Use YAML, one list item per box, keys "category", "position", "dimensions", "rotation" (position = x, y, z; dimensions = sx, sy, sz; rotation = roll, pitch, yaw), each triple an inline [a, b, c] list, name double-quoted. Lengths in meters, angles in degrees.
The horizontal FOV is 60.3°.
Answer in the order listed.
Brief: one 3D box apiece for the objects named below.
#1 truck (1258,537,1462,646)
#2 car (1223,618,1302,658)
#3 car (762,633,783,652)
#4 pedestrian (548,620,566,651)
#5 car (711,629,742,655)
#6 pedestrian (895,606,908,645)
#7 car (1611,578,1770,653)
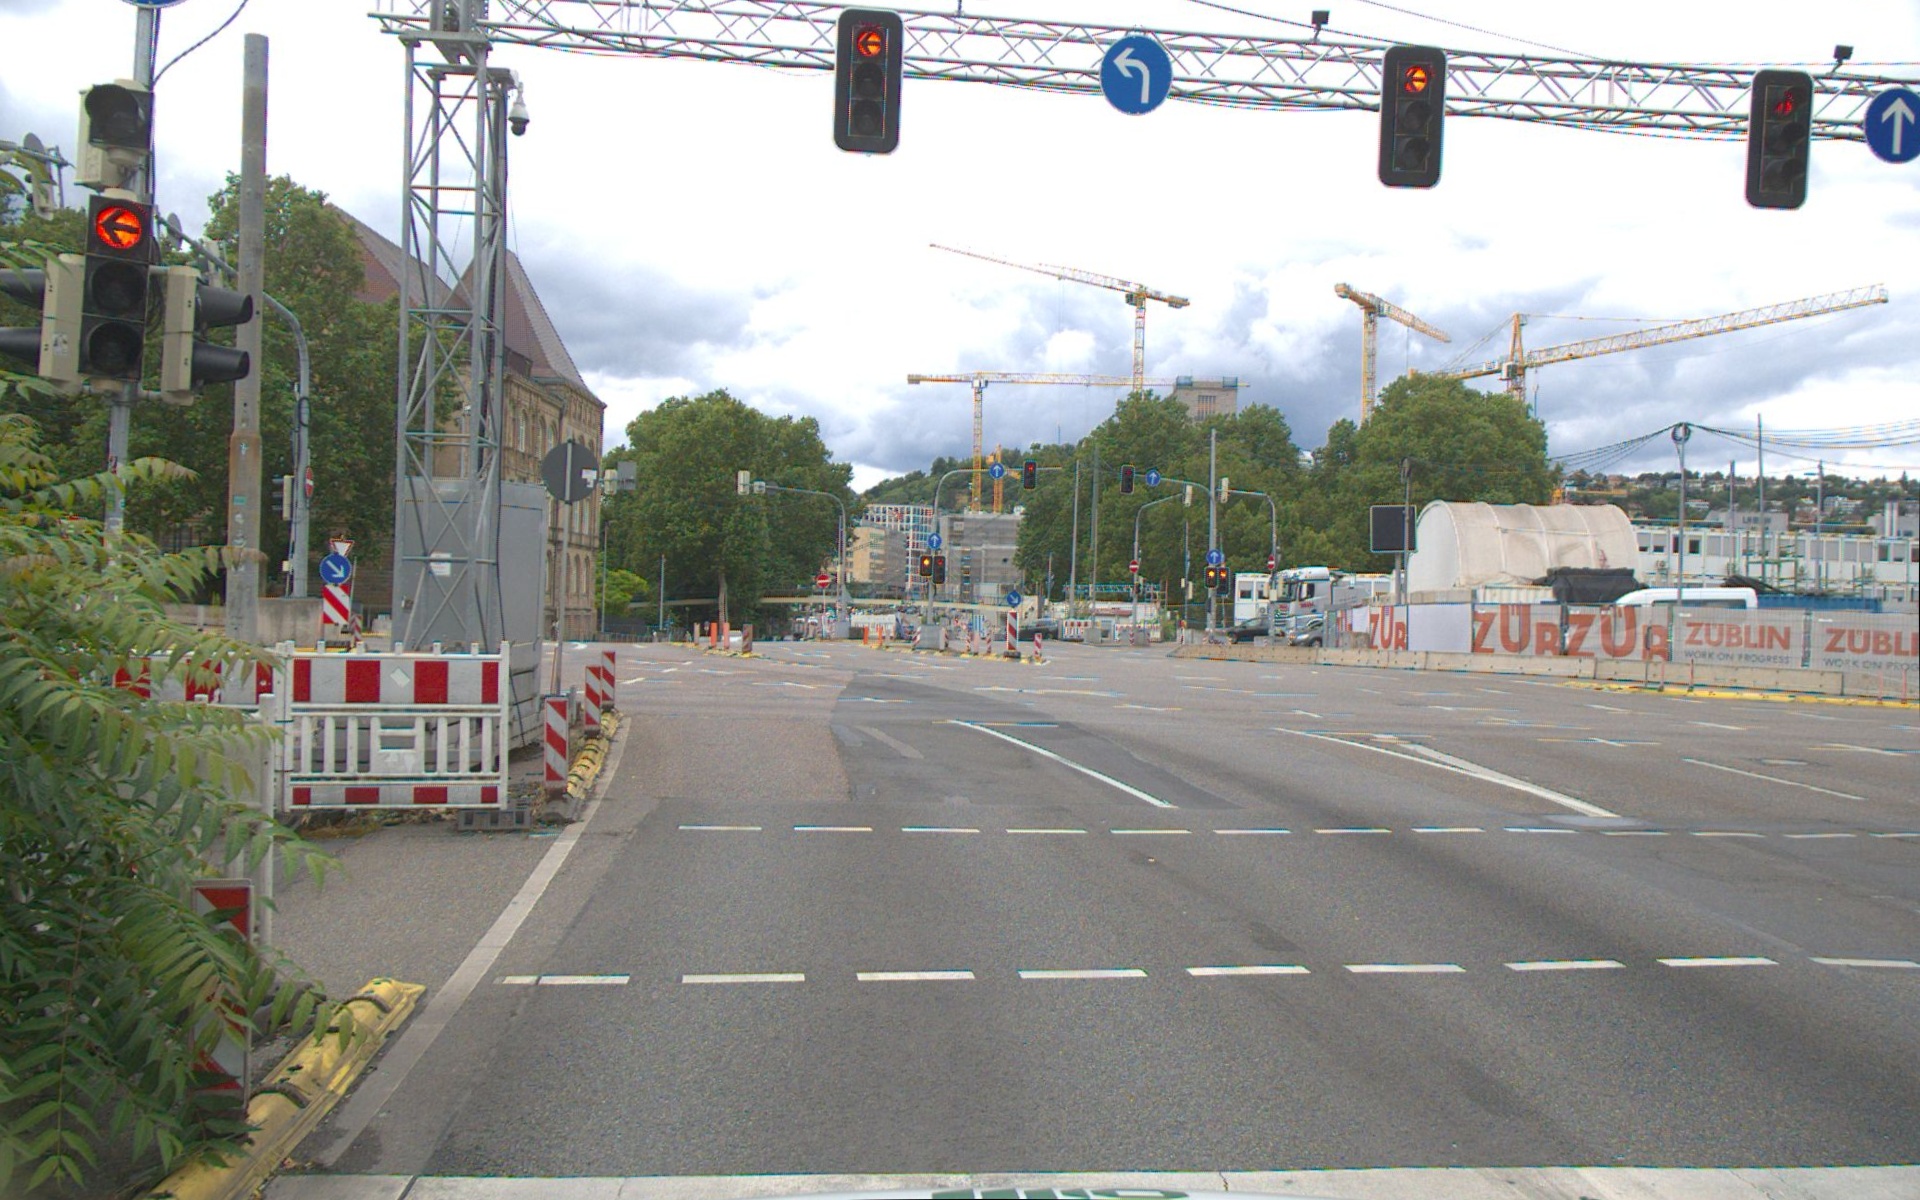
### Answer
- category: "truck"
  position: [19.657, -0.371, 81.292]
  dimensions: [9.565, 5.047, 3.097]
  rotation: [1, 0, -19]
- category: "car"
  position: [16.400, 2.055, 89.695]
  dimensions: [3.905, 2.049, 2.000]
  rotation: [1, 0, 0]
- category: "car"
  position: [-19.622, 4.426, 173.208]
  dimensions: [1.954, 1.870, 3.997]
  rotation: [1, 0, -3]
- category: "pedestrian"
  position: [-26.418, 2.327, 108.491]
  dimensions: [0.930, 2.049, 0.766]
  rotation: [1, -1, 1]
- category: "car"
  position: [-17.831, 3.177, 126.444]
  dimensions: [1.954, 1.870, 3.997]
  rotation: [1, 0, -3]
- category: "pedestrian"
  position: [-2.886, 1.258, 81.332]
  dimensions: [0.574, 1.872, 0.604]
  rotation: [1, -1, -4]
- category: "car"
  position: [21.056, 0.446, 47.821]
  dimensions: [3.902, 2.049, 2.001]
  rotation: [1, 0, 15]
